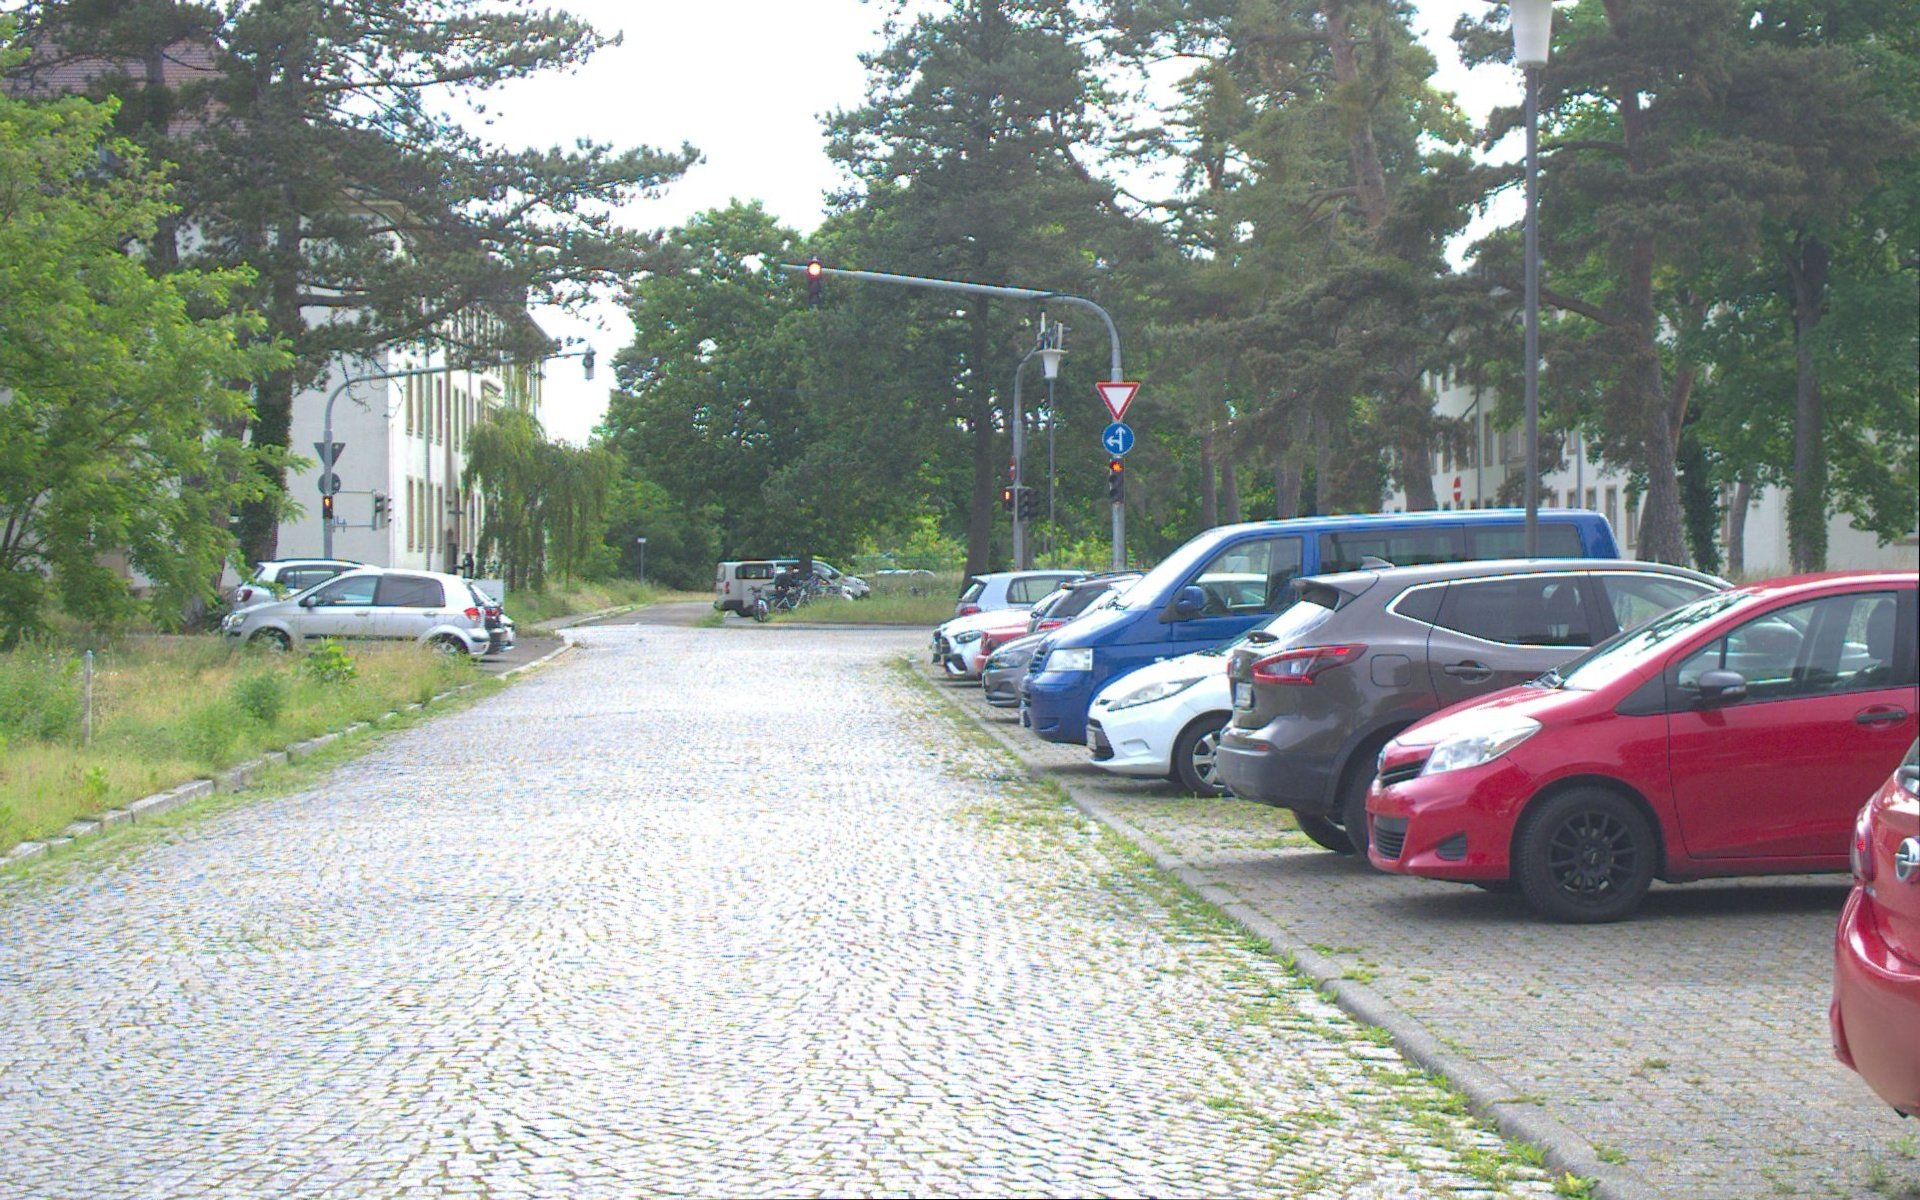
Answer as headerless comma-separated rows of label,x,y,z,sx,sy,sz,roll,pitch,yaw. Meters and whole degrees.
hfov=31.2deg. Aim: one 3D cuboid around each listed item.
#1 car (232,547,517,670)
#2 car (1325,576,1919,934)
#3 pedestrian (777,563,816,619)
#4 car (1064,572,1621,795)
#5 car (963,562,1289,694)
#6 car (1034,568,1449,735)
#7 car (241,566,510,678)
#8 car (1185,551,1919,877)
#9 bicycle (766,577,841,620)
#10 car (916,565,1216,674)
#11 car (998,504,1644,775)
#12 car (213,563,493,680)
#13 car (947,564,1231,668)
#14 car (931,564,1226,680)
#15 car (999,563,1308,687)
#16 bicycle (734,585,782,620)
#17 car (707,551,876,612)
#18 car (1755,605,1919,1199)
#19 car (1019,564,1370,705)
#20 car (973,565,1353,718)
car,-9.286,0.126,54.755,4.262,1.834,1.744,-1,0,-3
car,3.689,0.640,15.573,3.791,1.455,1.751,-1,0,-3
pedestrian,-4.753,-0.262,99.962,1.033,1.608,0.757,1,0,-7
car,2.681,0.566,24.564,3.671,1.444,1.615,-1,0,-5
car,1.947,0.321,40.893,3.671,1.444,1.524,-1,0,-5
car,2.623,0.468,32.442,3.671,1.444,1.524,-1,0,-5
car,-8.769,0.314,51.790,3.821,1.567,1.564,-1,0,-3
car,3.340,0.557,18.210,4.028,1.547,1.751,-1,0,-5
bicycle,-4.535,-0.053,99.630,2.136,1.210,0.622,1,0,-7
car,1.466,0.263,48.272,3.967,1.416,1.620,-1,0,-7
car,2.780,0.290,27.163,4.753,1.948,1.932,-1,0,-5
car,-8.676,0.297,49.374,3.821,1.567,1.565,-1,0,-6
car,1.889,0.220,50.946,3.967,1.416,1.620,-1,0,-7
car,1.540,0.284,45.417,3.671,1.416,1.524,-1,0,-7
car,2.408,0.304,43.203,3.671,1.444,1.524,-1,0,-5
bicycle,-5.613,0.067,95.506,0.620,0.942,1.663,0,0,-31
car,-5.765,-0.627,117.501,5.444,2.007,2.269,1,0,-12
car,4.006,0.708,7.989,3.825,1.455,1.779,-1,0,-3
car,2.577,0.366,38.214,3.671,1.444,1.524,-1,0,-5
car,2.044,0.411,35.197,3.671,1.444,1.524,-1,0,-5
